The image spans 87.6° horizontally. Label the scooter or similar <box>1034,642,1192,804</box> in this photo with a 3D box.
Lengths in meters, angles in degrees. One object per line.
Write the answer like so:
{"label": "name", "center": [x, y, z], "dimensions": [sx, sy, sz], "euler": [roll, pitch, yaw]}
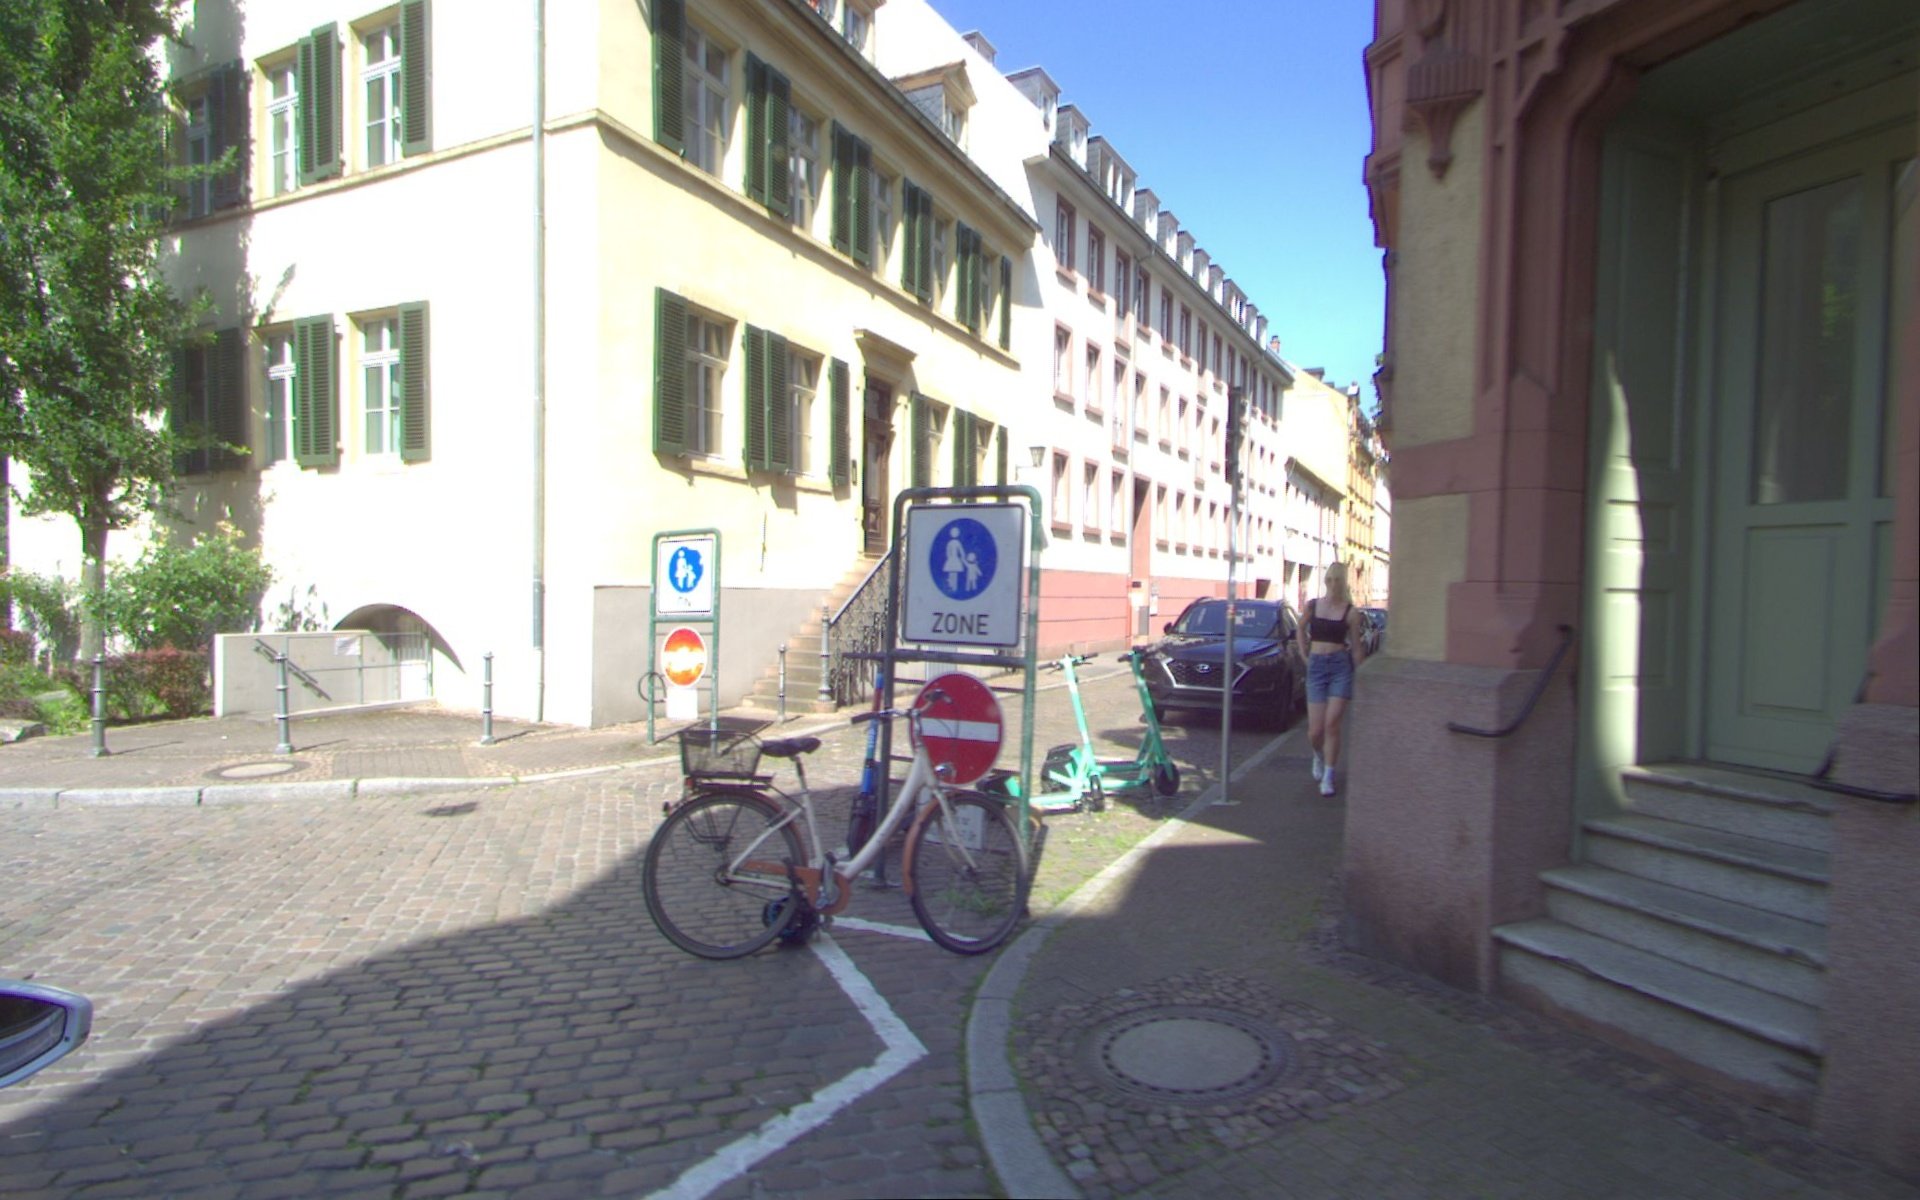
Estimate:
{"label": "scooter or similar", "center": [1.226, 0.977, 8.120], "dimensions": [1.211, 1.225, 0.413], "euler": [1, 1, 8]}

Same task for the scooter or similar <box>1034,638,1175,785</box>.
{"label": "scooter or similar", "center": [1.249, 0.957, 8.735], "dimensions": [1.167, 1.225, 0.342], "euler": [1, 1, 2]}

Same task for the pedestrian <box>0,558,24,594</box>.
{"label": "pedestrian", "center": [-34.102, -0.846, 35.759], "dimensions": [0.704, 1.226, 0.797], "euler": [-2, -2, 28]}

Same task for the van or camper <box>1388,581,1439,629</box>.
{"label": "van or camper", "center": [23.520, 0.232, 51.827], "dimensions": [2.151, 2.352, 5.341], "euler": [1, 0, 27]}

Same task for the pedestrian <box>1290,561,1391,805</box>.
{"label": "pedestrian", "center": [3.017, 0.627, 7.898], "dimensions": [0.613, 1.781, 0.977], "euler": [-2, -1, 26]}

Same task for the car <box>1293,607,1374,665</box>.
{"label": "car", "center": [10.048, 0.900, 26.805], "dimensions": [1.685, 1.414, 3.322], "euler": [1, 0, 27]}

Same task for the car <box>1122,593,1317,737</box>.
{"label": "car", "center": [3.717, 0.761, 13.835], "dimensions": [1.967, 1.664, 3.988], "euler": [1, 0, 24]}

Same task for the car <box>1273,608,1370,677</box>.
{"label": "car", "center": [8.293, 0.914, 22.827], "dimensions": [1.685, 1.414, 3.322], "euler": [1, 0, 27]}

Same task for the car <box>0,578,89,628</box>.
{"label": "car", "center": [-28.786, 0.072, 29.758], "dimensions": [1.844, 1.437, 3.987], "euler": [1, 0, 25]}

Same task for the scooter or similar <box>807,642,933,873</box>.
{"label": "scooter or similar", "center": [-0.533, 0.921, 6.312], "dimensions": [0.434, 1.252, 1.189], "euler": [1, 1, 13]}

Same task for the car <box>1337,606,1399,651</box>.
{"label": "car", "center": [13.919, 0.936, 34.084], "dimensions": [1.685, 1.414, 3.322], "euler": [1, 0, 27]}

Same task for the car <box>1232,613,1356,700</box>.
{"label": "car", "center": [6.146, 0.941, 18.205], "dimensions": [1.685, 1.376, 3.322], "euler": [0, 0, 27]}

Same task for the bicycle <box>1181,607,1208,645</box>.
{"label": "bicycle", "center": [7.648, 0.822, 32.651], "dimensions": [0.450, 1.198, 1.439], "euler": [1, 1, 29]}

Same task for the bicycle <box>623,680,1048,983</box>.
{"label": "bicycle", "center": [-0.531, 0.969, 4.442], "dimensions": [1.759, 1.162, 0.505], "euler": [0, 2, -10]}

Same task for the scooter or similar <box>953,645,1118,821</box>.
{"label": "scooter or similar", "center": [0.562, 0.956, 7.444], "dimensions": [1.170, 1.225, 0.341], "euler": [1, 1, -20]}
